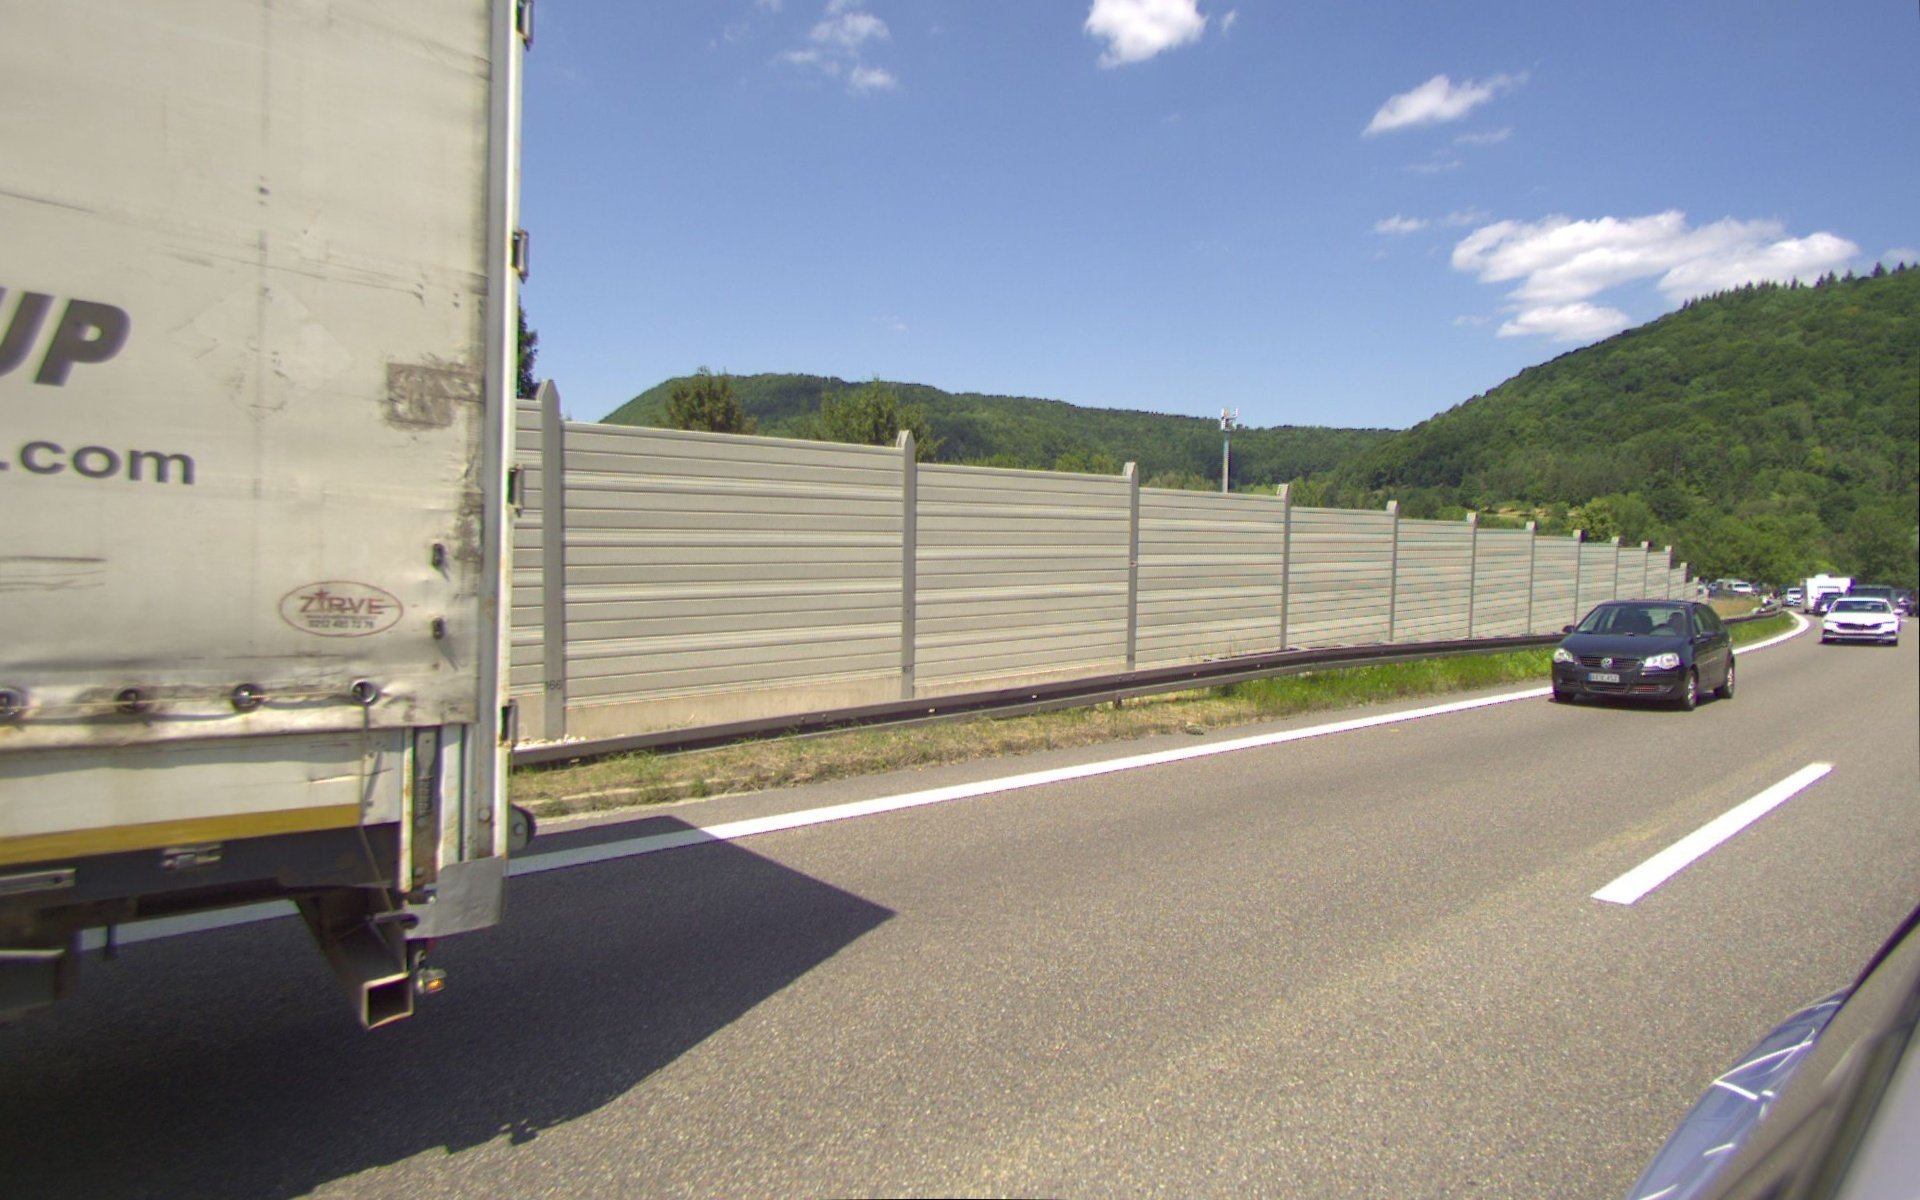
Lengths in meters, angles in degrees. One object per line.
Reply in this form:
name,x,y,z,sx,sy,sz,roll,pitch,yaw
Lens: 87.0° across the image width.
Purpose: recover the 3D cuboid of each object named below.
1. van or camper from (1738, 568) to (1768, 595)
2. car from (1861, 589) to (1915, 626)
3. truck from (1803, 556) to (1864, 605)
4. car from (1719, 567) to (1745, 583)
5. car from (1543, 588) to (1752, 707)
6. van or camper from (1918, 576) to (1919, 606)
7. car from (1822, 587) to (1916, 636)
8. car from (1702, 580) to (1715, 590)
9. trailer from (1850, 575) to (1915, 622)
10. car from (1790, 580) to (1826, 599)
van or camper,94.232,-2.190,120.270,1.893,3.065,4.828,0,1,27
car,38.145,0.268,41.655,1.484,1.400,3.683,3,2,41
truck,61.425,-1.352,71.276,2.588,3.147,6.768,-3,-1,36
car,98.178,-3.177,128.782,1.982,2.039,3.960,-1,0,29
car,9.934,0.569,14.520,3.774,1.440,1.693,-1,2,-43
van or camper,60.902,-0.583,62.641,1.807,1.890,3.567,-1,0,35
car,28.370,0.367,31.554,3.659,1.449,1.904,1,-1,-43
car,114.113,-2.325,154.270,1.236,1.497,2.929,-3,-1,30
trailer,40.583,-0.093,44.593,1.992,1.994,3.941,0,1,41
car,74.014,-0.902,88.363,1.685,1.552,3.641,-3,-1,30
